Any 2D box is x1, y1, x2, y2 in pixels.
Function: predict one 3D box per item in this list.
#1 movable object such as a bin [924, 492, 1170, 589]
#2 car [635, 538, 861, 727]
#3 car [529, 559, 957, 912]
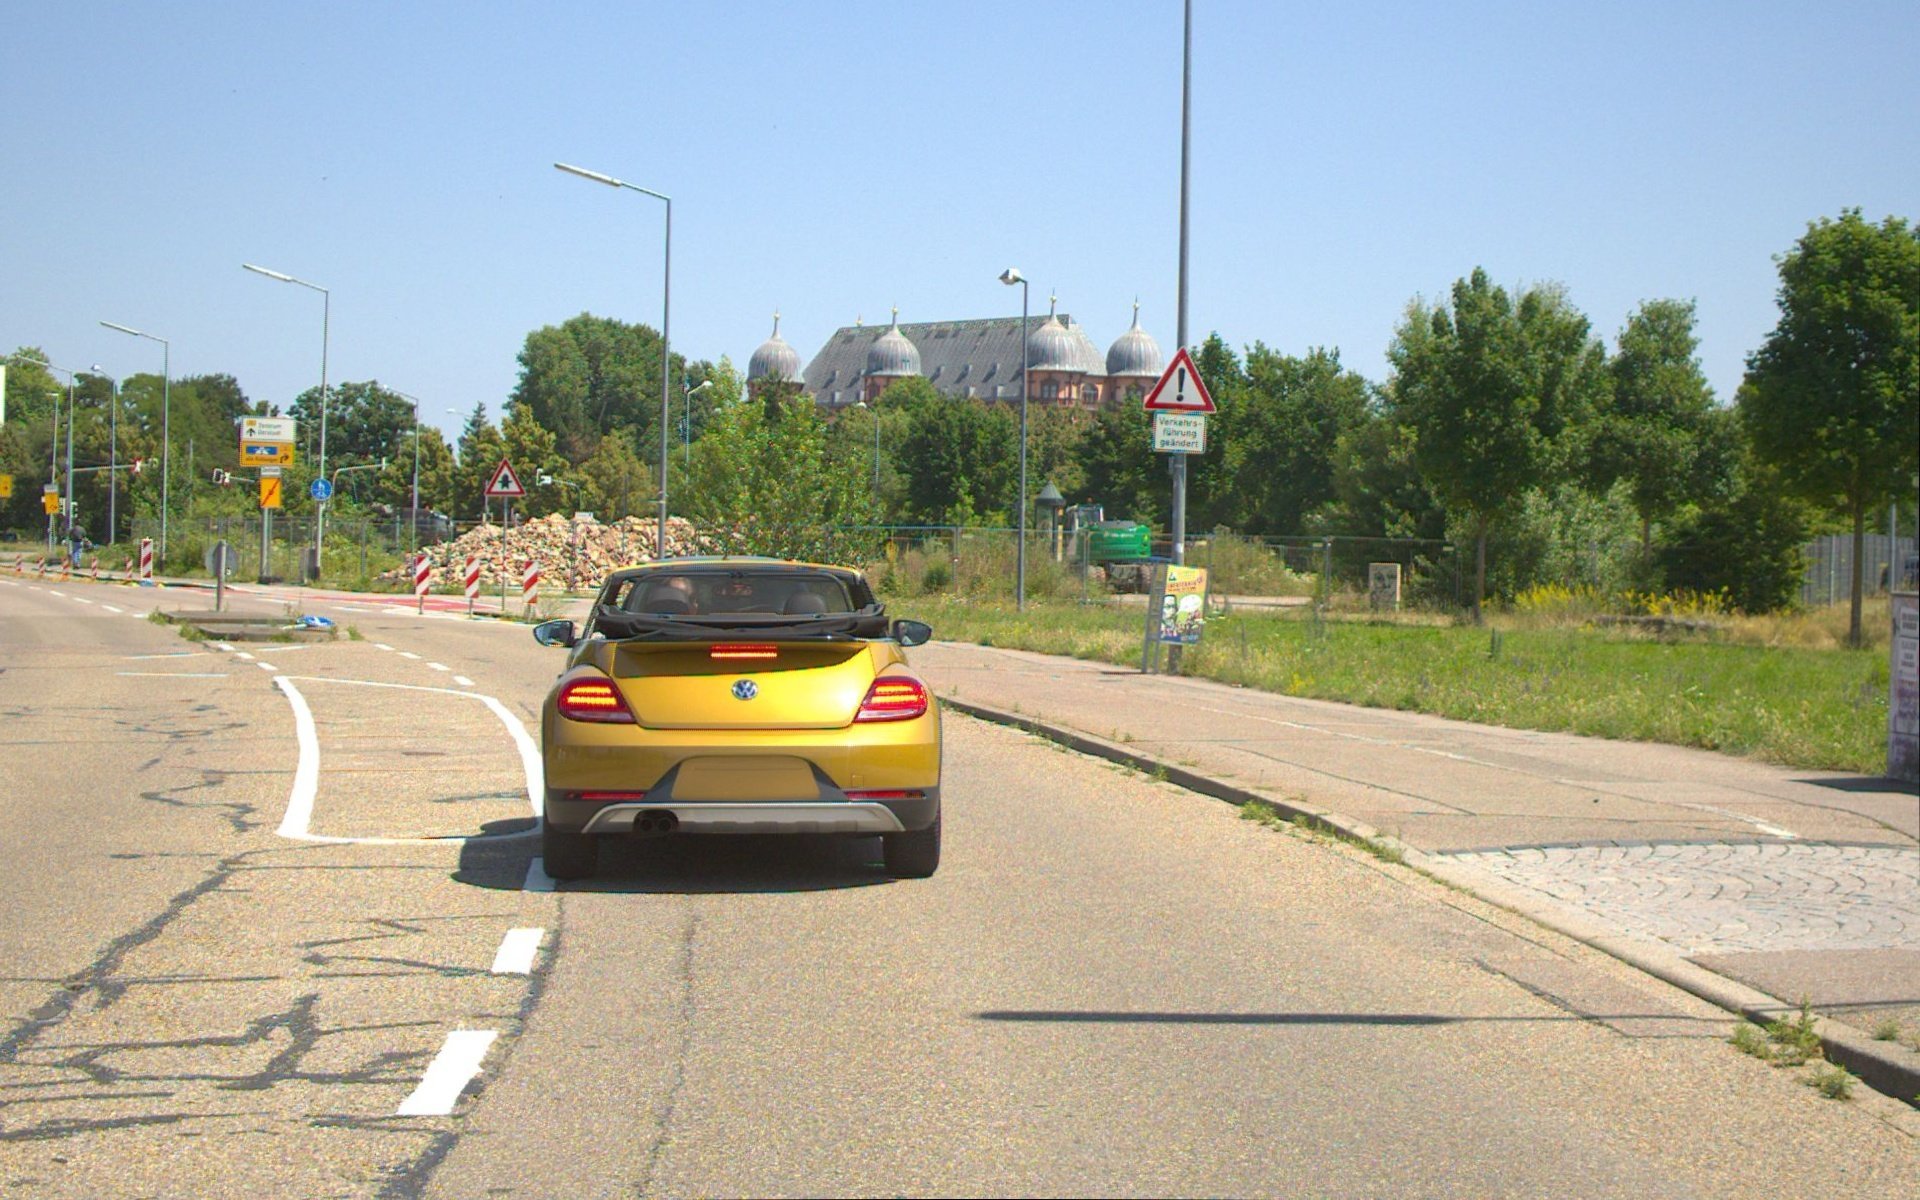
[{"bbox_3d":[3.001,-2.142,123.715,4.938,3.249,10.472,1,1,-23],"label":"movable object such as a bin"},{"bbox_3d":[-1.743,0.220,28.738,1.726,1.438,4.001,1,1,-3],"label":"car"},{"bbox_3d":[-1.019,0.556,16.516,1.790,1.432,3.814,1,1,-3],"label":"car"}]
